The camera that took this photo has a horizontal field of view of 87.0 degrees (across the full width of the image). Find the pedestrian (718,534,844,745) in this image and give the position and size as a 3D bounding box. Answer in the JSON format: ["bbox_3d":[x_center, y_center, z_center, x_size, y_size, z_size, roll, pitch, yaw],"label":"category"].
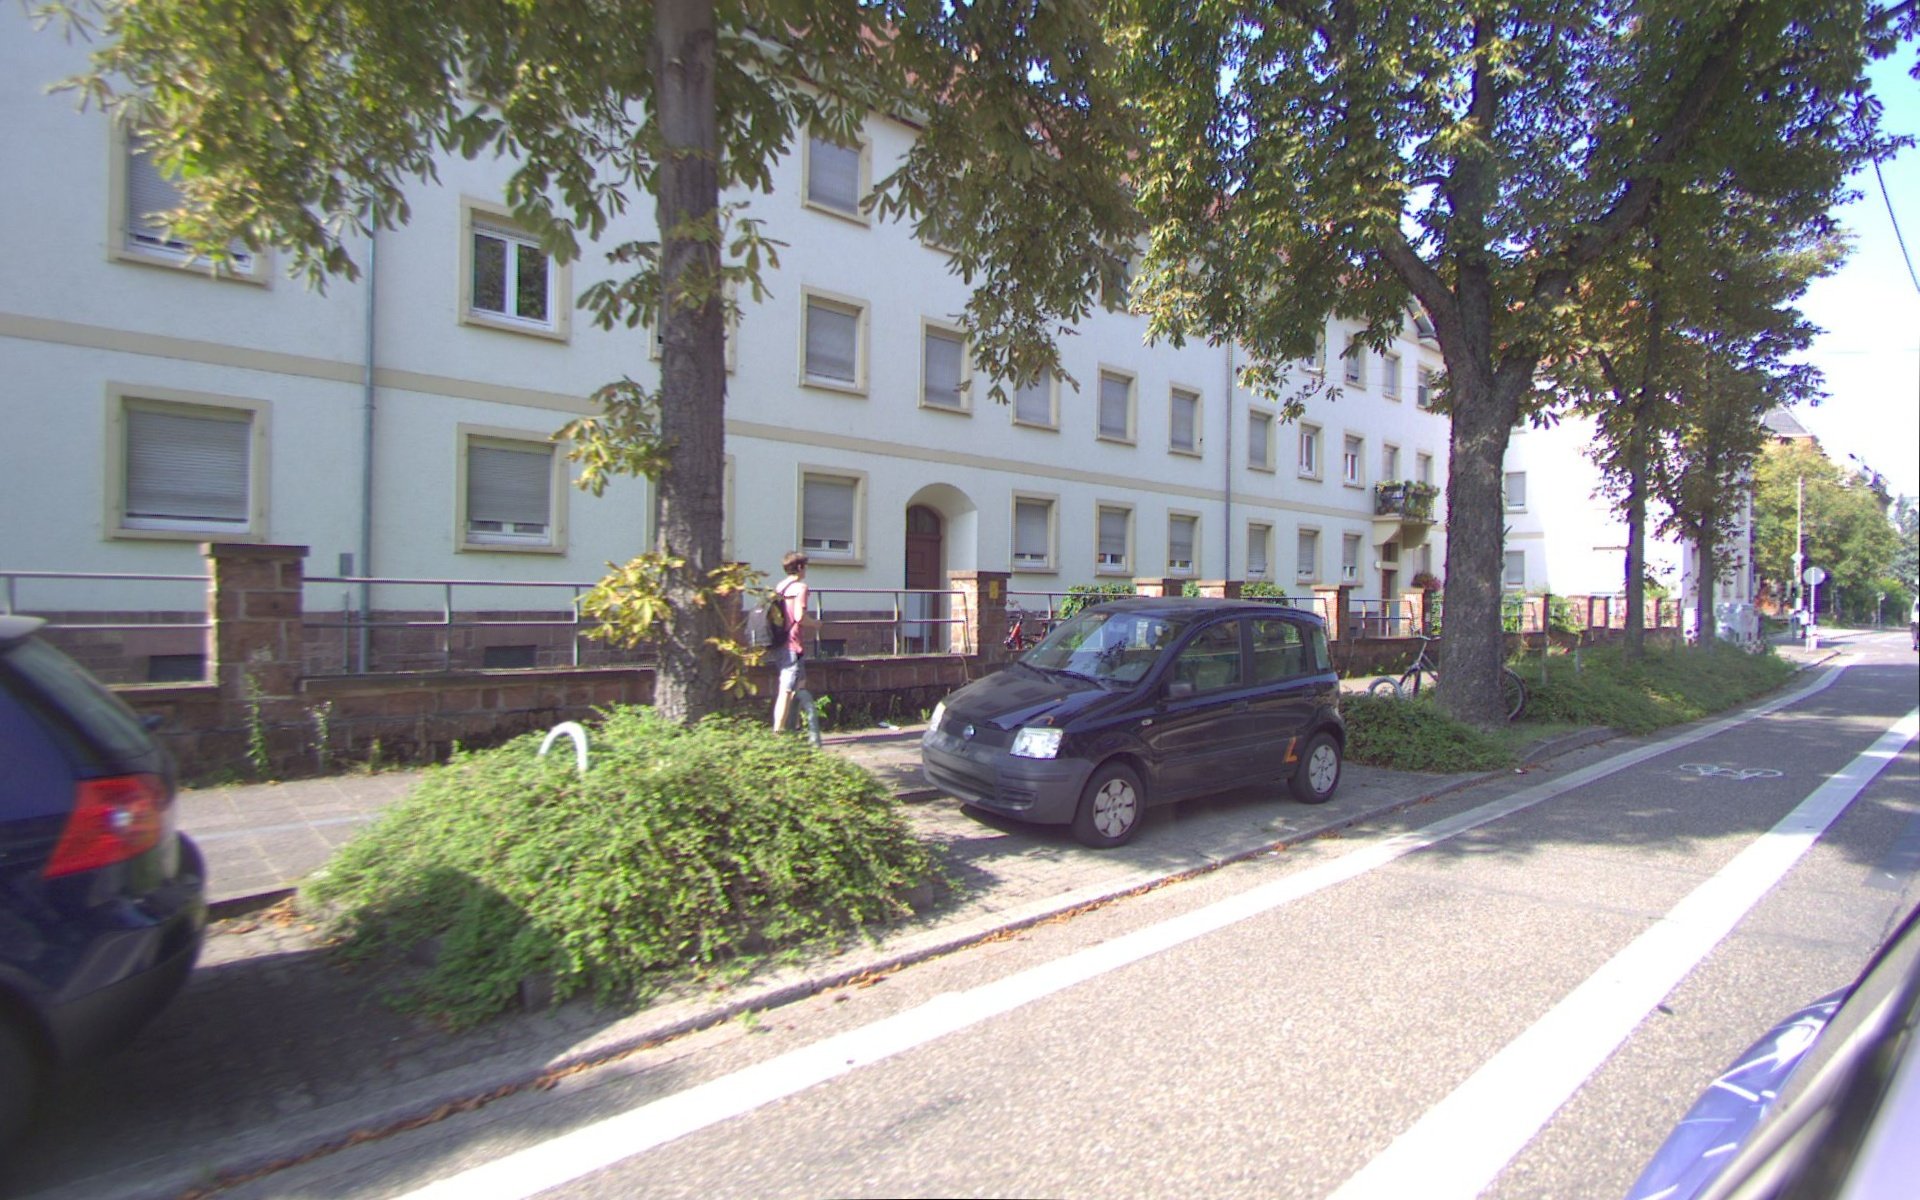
[{"bbox_3d":[-1.606,0.329,9.073,0.861,1.771,0.755,1,0,-36],"label":"pedestrian"}]

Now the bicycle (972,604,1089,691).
[{"bbox_3d":[0.968,0.605,13.564,1.698,1.087,0.524,0,0,-42],"label":"bicycle"}]

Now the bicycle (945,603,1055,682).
[{"bbox_3d":[0.598,0.592,14.680,1.698,1.087,0.524,0,0,-42],"label":"bicycle"}]

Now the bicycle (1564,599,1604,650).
[{"bbox_3d":[18.515,0.709,30.006,1.708,1.473,0.455,1,-1,-38],"label":"bicycle"}]

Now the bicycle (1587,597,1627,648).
[{"bbox_3d":[19.118,0.653,29.884,1.708,1.473,0.455,1,-1,-38],"label":"bicycle"}]

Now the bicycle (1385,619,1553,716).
[{"bbox_3d":[5.934,0.781,11.838,1.695,1.087,0.525,0,0,0],"label":"bicycle"}]

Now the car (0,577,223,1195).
[{"bbox_3d":[-4.101,0.688,1.966,4.173,1.466,1.648,0,2,-42],"label":"car"}]

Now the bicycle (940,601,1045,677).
[{"bbox_3d":[0.516,0.566,15.354,1.698,1.087,0.524,0,0,-42],"label":"bicycle"}]

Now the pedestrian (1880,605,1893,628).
[{"bbox_3d":[71.533,1.288,78.121,0.648,1.739,0.544,1,0,-27],"label":"pedestrian"}]

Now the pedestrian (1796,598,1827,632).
[{"bbox_3d":[45.909,0.786,54.553,0.953,1.745,1.078,1,3,-43],"label":"pedestrian"}]

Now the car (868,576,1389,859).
[{"bbox_3d":[1.369,0.657,7.518,3.770,1.559,1.650,0,2,-37],"label":"car"}]

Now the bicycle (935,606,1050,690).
[{"bbox_3d":[0.470,0.628,13.937,1.698,1.087,0.524,0,0,-42],"label":"bicycle"}]

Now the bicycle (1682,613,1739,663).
[{"bbox_3d":[17.865,0.882,24.074,0.772,1.118,2.295,1,0,45],"label":"bicycle"}]
